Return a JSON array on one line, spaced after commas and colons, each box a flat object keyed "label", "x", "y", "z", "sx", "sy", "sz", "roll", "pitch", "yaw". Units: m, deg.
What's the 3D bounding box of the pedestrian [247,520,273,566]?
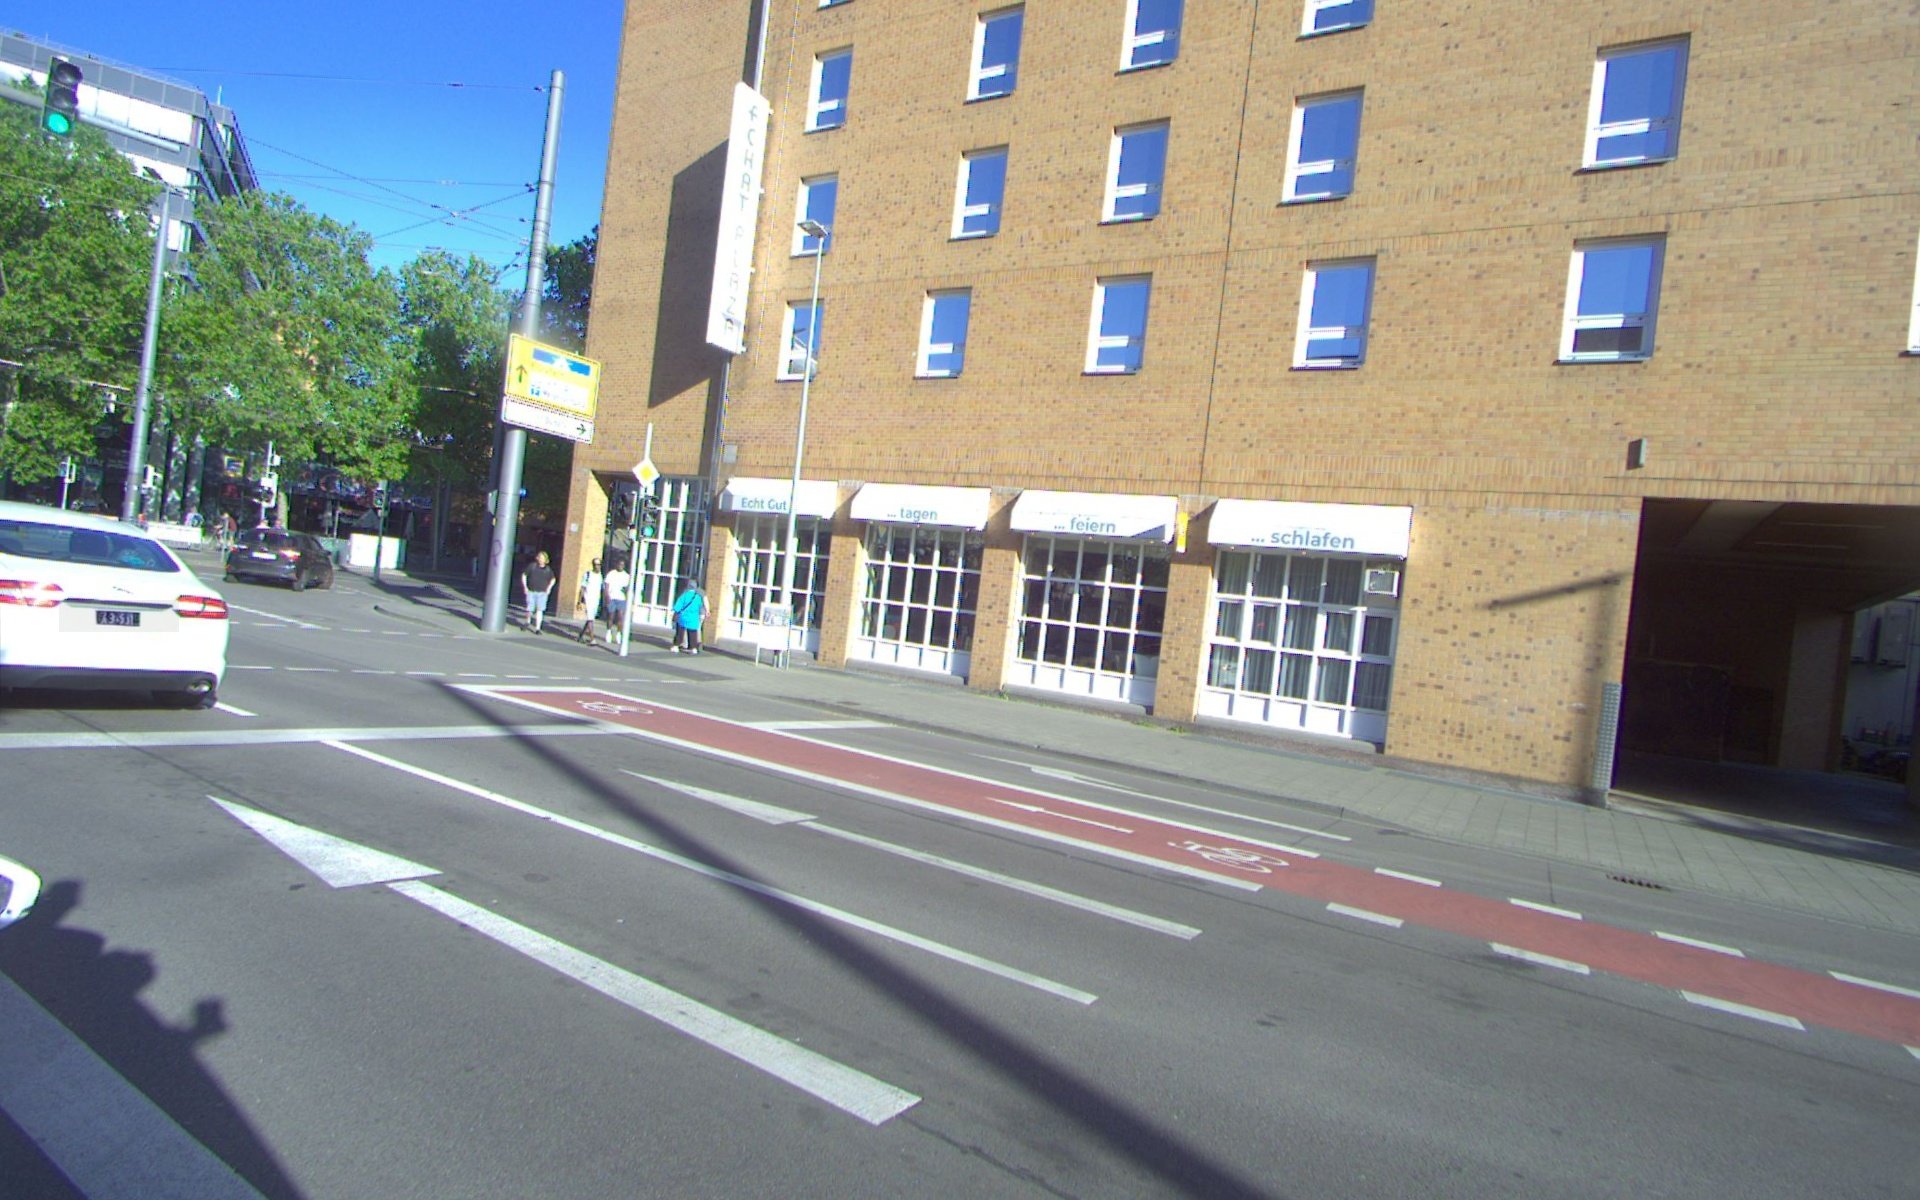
[{"label": "pedestrian", "x": -25.359, "y": -2.064, "z": 36.449, "sx": 0.564, "sy": 1.550, "sz": 0.694, "roll": 8, "pitch": -2, "yaw": -40}]

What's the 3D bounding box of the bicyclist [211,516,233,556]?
[{"label": "bicyclist", "x": -36.348, "y": -3.144, "z": 49.526, "sx": 0.396, "sy": 1.859, "sz": 0.585, "roll": 6, "pitch": -1, "yaw": 31}]

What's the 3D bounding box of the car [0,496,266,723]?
[{"label": "car", "x": -7.683, "y": -0.097, "z": 8.090, "sx": 4.380, "sy": 1.447, "sz": 1.805, "roll": 7, "pitch": -1, "yaw": 32}]

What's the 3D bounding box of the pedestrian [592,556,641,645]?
[{"label": "pedestrian", "x": -7.284, "y": 0.012, "z": 21.320, "sx": 0.673, "sy": 1.802, "sz": 0.591, "roll": 6, "pitch": 1, "yaw": 43}]

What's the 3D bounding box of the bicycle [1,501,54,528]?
[{"label": "bicycle", "x": -48.384, "y": -4.438, "z": 52.220, "sx": 0.354, "sy": 1.058, "sz": 1.884, "roll": 6, "pitch": -2, "yaw": 31}]

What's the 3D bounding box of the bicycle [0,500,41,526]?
[{"label": "bicycle", "x": -50.130, "y": -4.641, "z": 53.376, "sx": 0.354, "sy": 1.058, "sz": 1.885, "roll": 7, "pitch": -2, "yaw": 31}]

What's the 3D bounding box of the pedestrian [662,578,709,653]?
[{"label": "pedestrian", "x": -5.649, "y": 0.318, "z": 20.714, "sx": 0.591, "sy": 1.472, "sz": 0.592, "roll": 6, "pitch": 3, "yaw": 32}]

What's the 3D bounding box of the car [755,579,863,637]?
[{"label": "car", "x": -6.997, "y": 0.356, "z": 46.570, "sx": 4.419, "sy": 2.031, "sz": 1.799, "roll": 9, "pitch": -2, "yaw": -25}]

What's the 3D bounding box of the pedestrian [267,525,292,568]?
[{"label": "pedestrian", "x": -24.958, "y": -1.968, "z": 36.892, "sx": 0.563, "sy": 1.496, "sz": 0.695, "roll": 8, "pitch": -2, "yaw": -37}]

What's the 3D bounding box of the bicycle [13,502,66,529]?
[{"label": "bicycle", "x": -47.320, "y": -4.334, "z": 51.730, "sx": 0.354, "sy": 1.058, "sz": 1.884, "roll": 6, "pitch": -2, "yaw": 31}]

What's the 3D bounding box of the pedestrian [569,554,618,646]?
[{"label": "pedestrian", "x": -7.501, "y": 0.008, "z": 20.598, "sx": 0.672, "sy": 1.804, "sz": 0.590, "roll": 8, "pitch": 4, "yaw": 43}]

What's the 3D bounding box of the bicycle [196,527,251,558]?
[{"label": "bicycle", "x": -36.315, "y": -2.820, "z": 49.627, "sx": 0.414, "sy": 1.228, "sz": 2.046, "roll": 6, "pitch": -2, "yaw": 32}]

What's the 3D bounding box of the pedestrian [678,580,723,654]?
[{"label": "pedestrian", "x": -5.535, "y": 0.362, "z": 21.460, "sx": 0.543, "sy": 1.495, "sz": 0.593, "roll": 6, "pitch": 0, "yaw": 32}]

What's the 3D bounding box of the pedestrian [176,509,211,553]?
[{"label": "pedestrian", "x": -32.758, "y": -2.929, "z": 42.998, "sx": 0.747, "sy": 1.724, "sz": 0.834, "roll": 6, "pitch": -1, "yaw": 32}]

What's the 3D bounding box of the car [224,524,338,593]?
[{"label": "car", "x": -18.037, "y": -1.078, "z": 26.900, "sx": 1.716, "sy": 1.466, "sz": 4.018, "roll": 8, "pitch": -2, "yaw": -24}]

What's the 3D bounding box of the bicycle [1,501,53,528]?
[{"label": "bicycle", "x": -48.733, "y": -4.480, "z": 52.563, "sx": 0.354, "sy": 1.058, "sz": 1.885, "roll": 7, "pitch": -2, "yaw": 31}]

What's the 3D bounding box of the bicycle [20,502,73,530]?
[{"label": "bicycle", "x": -46.069, "y": -4.240, "z": 50.767, "sx": 0.354, "sy": 1.058, "sz": 1.884, "roll": 6, "pitch": -2, "yaw": 31}]

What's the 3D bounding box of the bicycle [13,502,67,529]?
[{"label": "bicycle", "x": -46.744, "y": -4.299, "z": 51.132, "sx": 0.354, "sy": 1.058, "sz": 1.884, "roll": 6, "pitch": -2, "yaw": 31}]

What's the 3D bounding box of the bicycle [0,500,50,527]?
[{"label": "bicycle", "x": -49.146, "y": -4.529, "z": 52.826, "sx": 0.354, "sy": 1.058, "sz": 1.885, "roll": 7, "pitch": -2, "yaw": 31}]

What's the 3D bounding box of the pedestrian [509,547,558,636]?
[{"label": "pedestrian", "x": -9.193, "y": -0.167, "z": 21.691, "sx": 0.726, "sy": 1.813, "sz": 0.510, "roll": 7, "pitch": -1, "yaw": -19}]
